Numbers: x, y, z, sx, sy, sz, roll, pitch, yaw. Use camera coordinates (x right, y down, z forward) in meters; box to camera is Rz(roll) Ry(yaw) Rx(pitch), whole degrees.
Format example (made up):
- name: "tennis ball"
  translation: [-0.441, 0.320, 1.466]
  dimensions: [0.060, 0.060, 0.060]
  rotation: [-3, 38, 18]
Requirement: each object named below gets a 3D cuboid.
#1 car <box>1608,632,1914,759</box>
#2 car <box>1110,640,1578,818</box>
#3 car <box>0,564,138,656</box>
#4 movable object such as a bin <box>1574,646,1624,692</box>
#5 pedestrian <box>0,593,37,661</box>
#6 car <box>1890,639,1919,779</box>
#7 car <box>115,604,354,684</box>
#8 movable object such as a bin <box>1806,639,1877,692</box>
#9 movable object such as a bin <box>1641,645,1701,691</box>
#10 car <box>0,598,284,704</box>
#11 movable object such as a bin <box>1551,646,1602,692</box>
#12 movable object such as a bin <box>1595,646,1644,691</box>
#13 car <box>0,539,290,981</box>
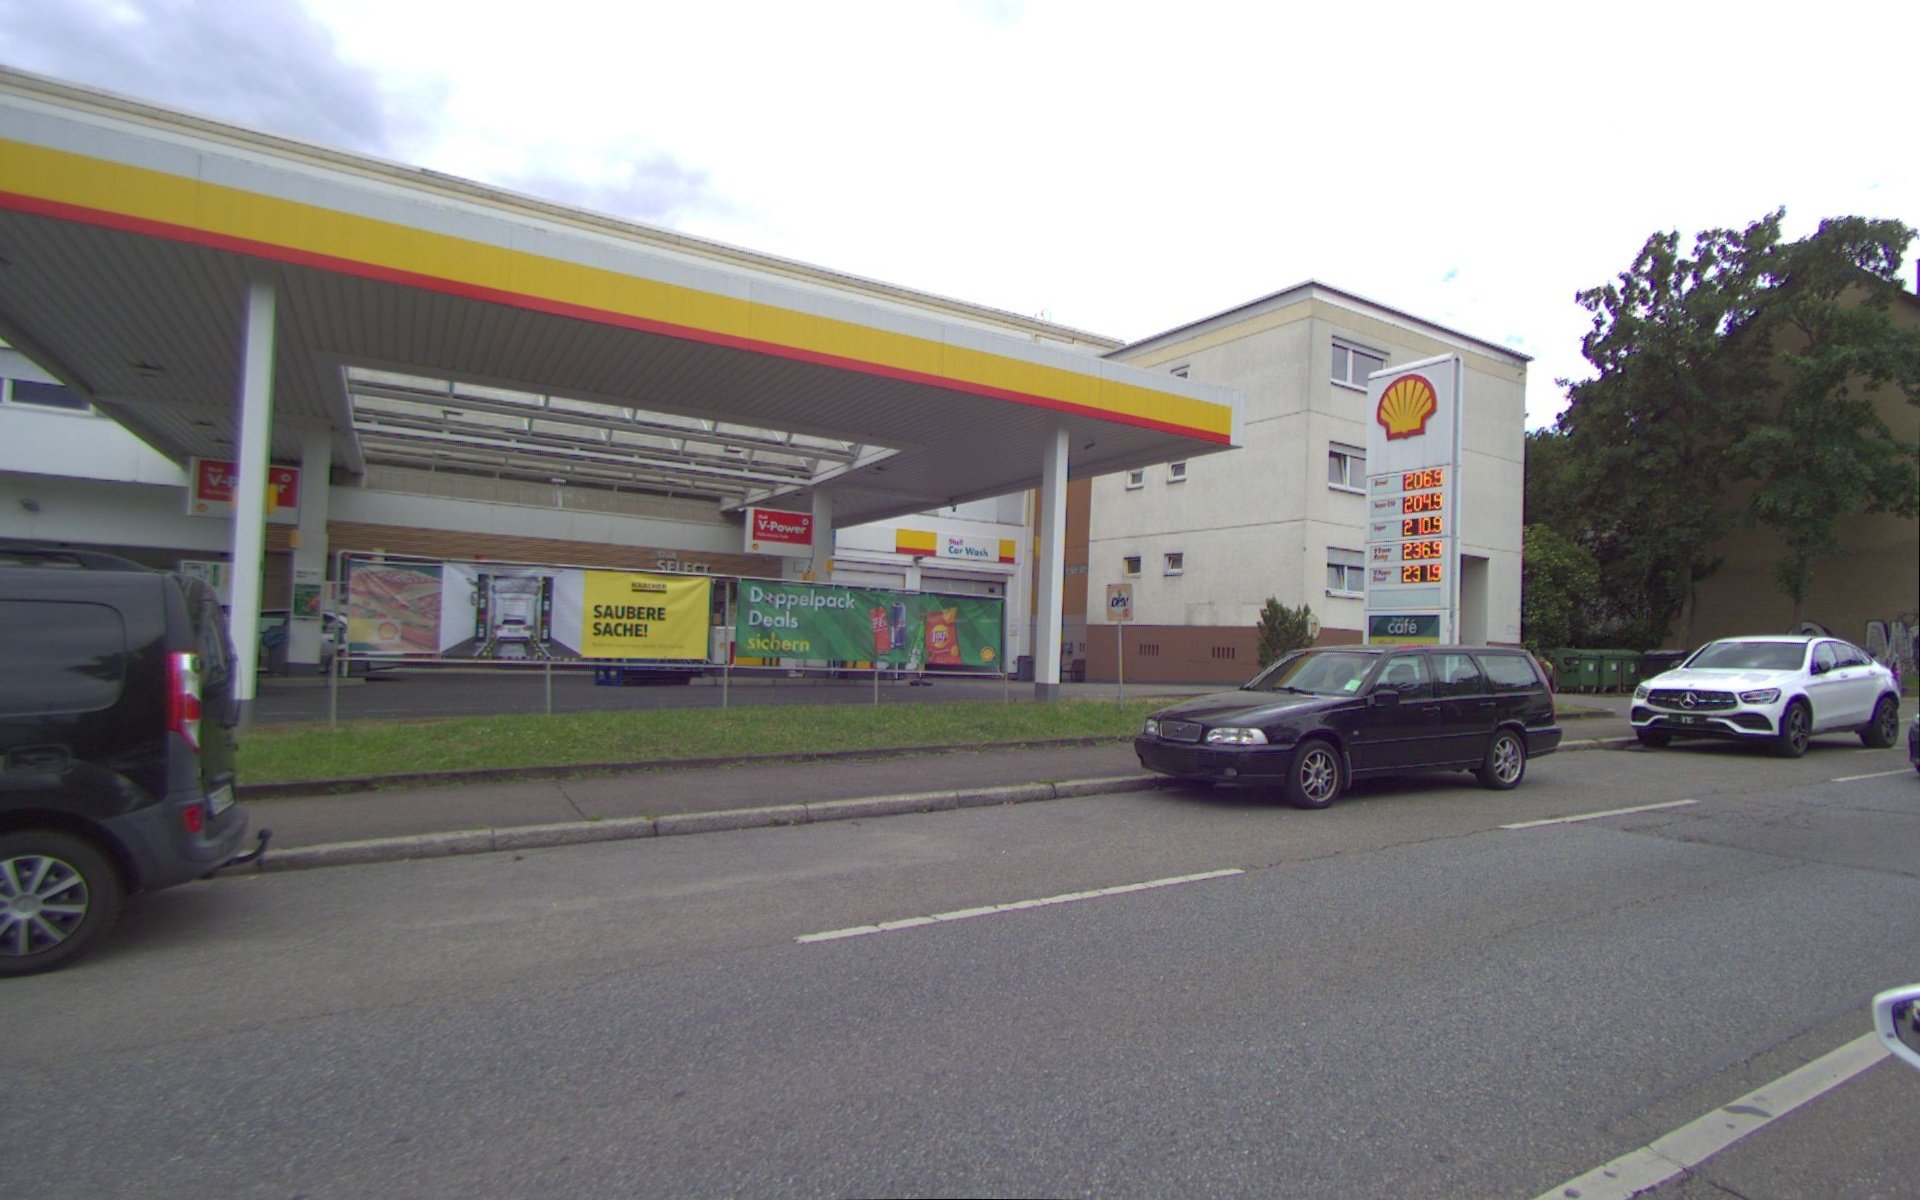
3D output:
- name: "car"
  translation: [11.725, 1.283, 14.644]
  dimensions: [4.643, 1.598, 1.907]
  rotation: [2, -2, -30]
- name: "car"
  translation: [3.940, 1.136, 10.122]
  dimensions: [4.684, 1.450, 1.791]
  rotation: [1, -3, -28]
- name: "car"
  translation: [-20.978, 0.251, 23.644]
  dimensions: [1.814, 1.989, 3.877]
  rotation: [2, -1, -29]
- name: "movable object such as a bin"
  translation: [21.317, 2.278, 33.522]
  dimensions: [1.382, 1.447, 0.905]
  rotation: [1, -1, -32]
- name: "pedestrian"
  translation: [-21.727, 0.605, 22.994]
  dimensions: [0.656, 1.537, 0.795]
  rotation: [1, 0, -27]
- name: "car"
  translation: [12.487, 1.195, 11.269]
  dimensions: [4.445, 1.485, 1.770]
  rotation: [2, -2, -30]
- name: "car"
  translation: [-14.074, 0.828, 19.762]
  dimensions: [3.593, 1.439, 1.789]
  rotation: [1, -1, -30]
- name: "movable object such as a bin"
  translation: [25.512, 1.869, 29.086]
  dimensions: [1.266, 1.447, 1.273]
  rotation: [1, -1, -34]
- name: "movable object such as a bin"
  translation: [23.424, 2.219, 33.110]
  dimensions: [0.903, 1.447, 1.385]
  rotation: [1, -1, -32]
- name: "car"
  translation: [-12.755, 0.712, 14.909]
  dimensions: [4.365, 1.439, 1.789]
  rotation: [1, -1, -30]
- name: "movable object such as a bin"
  translation: [20.102, 2.234, 32.764]
  dimensions: [1.382, 1.447, 0.905]
  rotation: [1, -1, -32]
- name: "movable object such as a bin"
  translation: [22.511, 2.321, 34.283]
  dimensions: [1.382, 1.447, 0.905]
  rotation: [1, -1, -32]
- name: "car"
  translation: [-5.718, 0.672, 4.273]
  dimensions: [4.649, 1.859, 1.842]
  rotation: [1, -3, -32]
